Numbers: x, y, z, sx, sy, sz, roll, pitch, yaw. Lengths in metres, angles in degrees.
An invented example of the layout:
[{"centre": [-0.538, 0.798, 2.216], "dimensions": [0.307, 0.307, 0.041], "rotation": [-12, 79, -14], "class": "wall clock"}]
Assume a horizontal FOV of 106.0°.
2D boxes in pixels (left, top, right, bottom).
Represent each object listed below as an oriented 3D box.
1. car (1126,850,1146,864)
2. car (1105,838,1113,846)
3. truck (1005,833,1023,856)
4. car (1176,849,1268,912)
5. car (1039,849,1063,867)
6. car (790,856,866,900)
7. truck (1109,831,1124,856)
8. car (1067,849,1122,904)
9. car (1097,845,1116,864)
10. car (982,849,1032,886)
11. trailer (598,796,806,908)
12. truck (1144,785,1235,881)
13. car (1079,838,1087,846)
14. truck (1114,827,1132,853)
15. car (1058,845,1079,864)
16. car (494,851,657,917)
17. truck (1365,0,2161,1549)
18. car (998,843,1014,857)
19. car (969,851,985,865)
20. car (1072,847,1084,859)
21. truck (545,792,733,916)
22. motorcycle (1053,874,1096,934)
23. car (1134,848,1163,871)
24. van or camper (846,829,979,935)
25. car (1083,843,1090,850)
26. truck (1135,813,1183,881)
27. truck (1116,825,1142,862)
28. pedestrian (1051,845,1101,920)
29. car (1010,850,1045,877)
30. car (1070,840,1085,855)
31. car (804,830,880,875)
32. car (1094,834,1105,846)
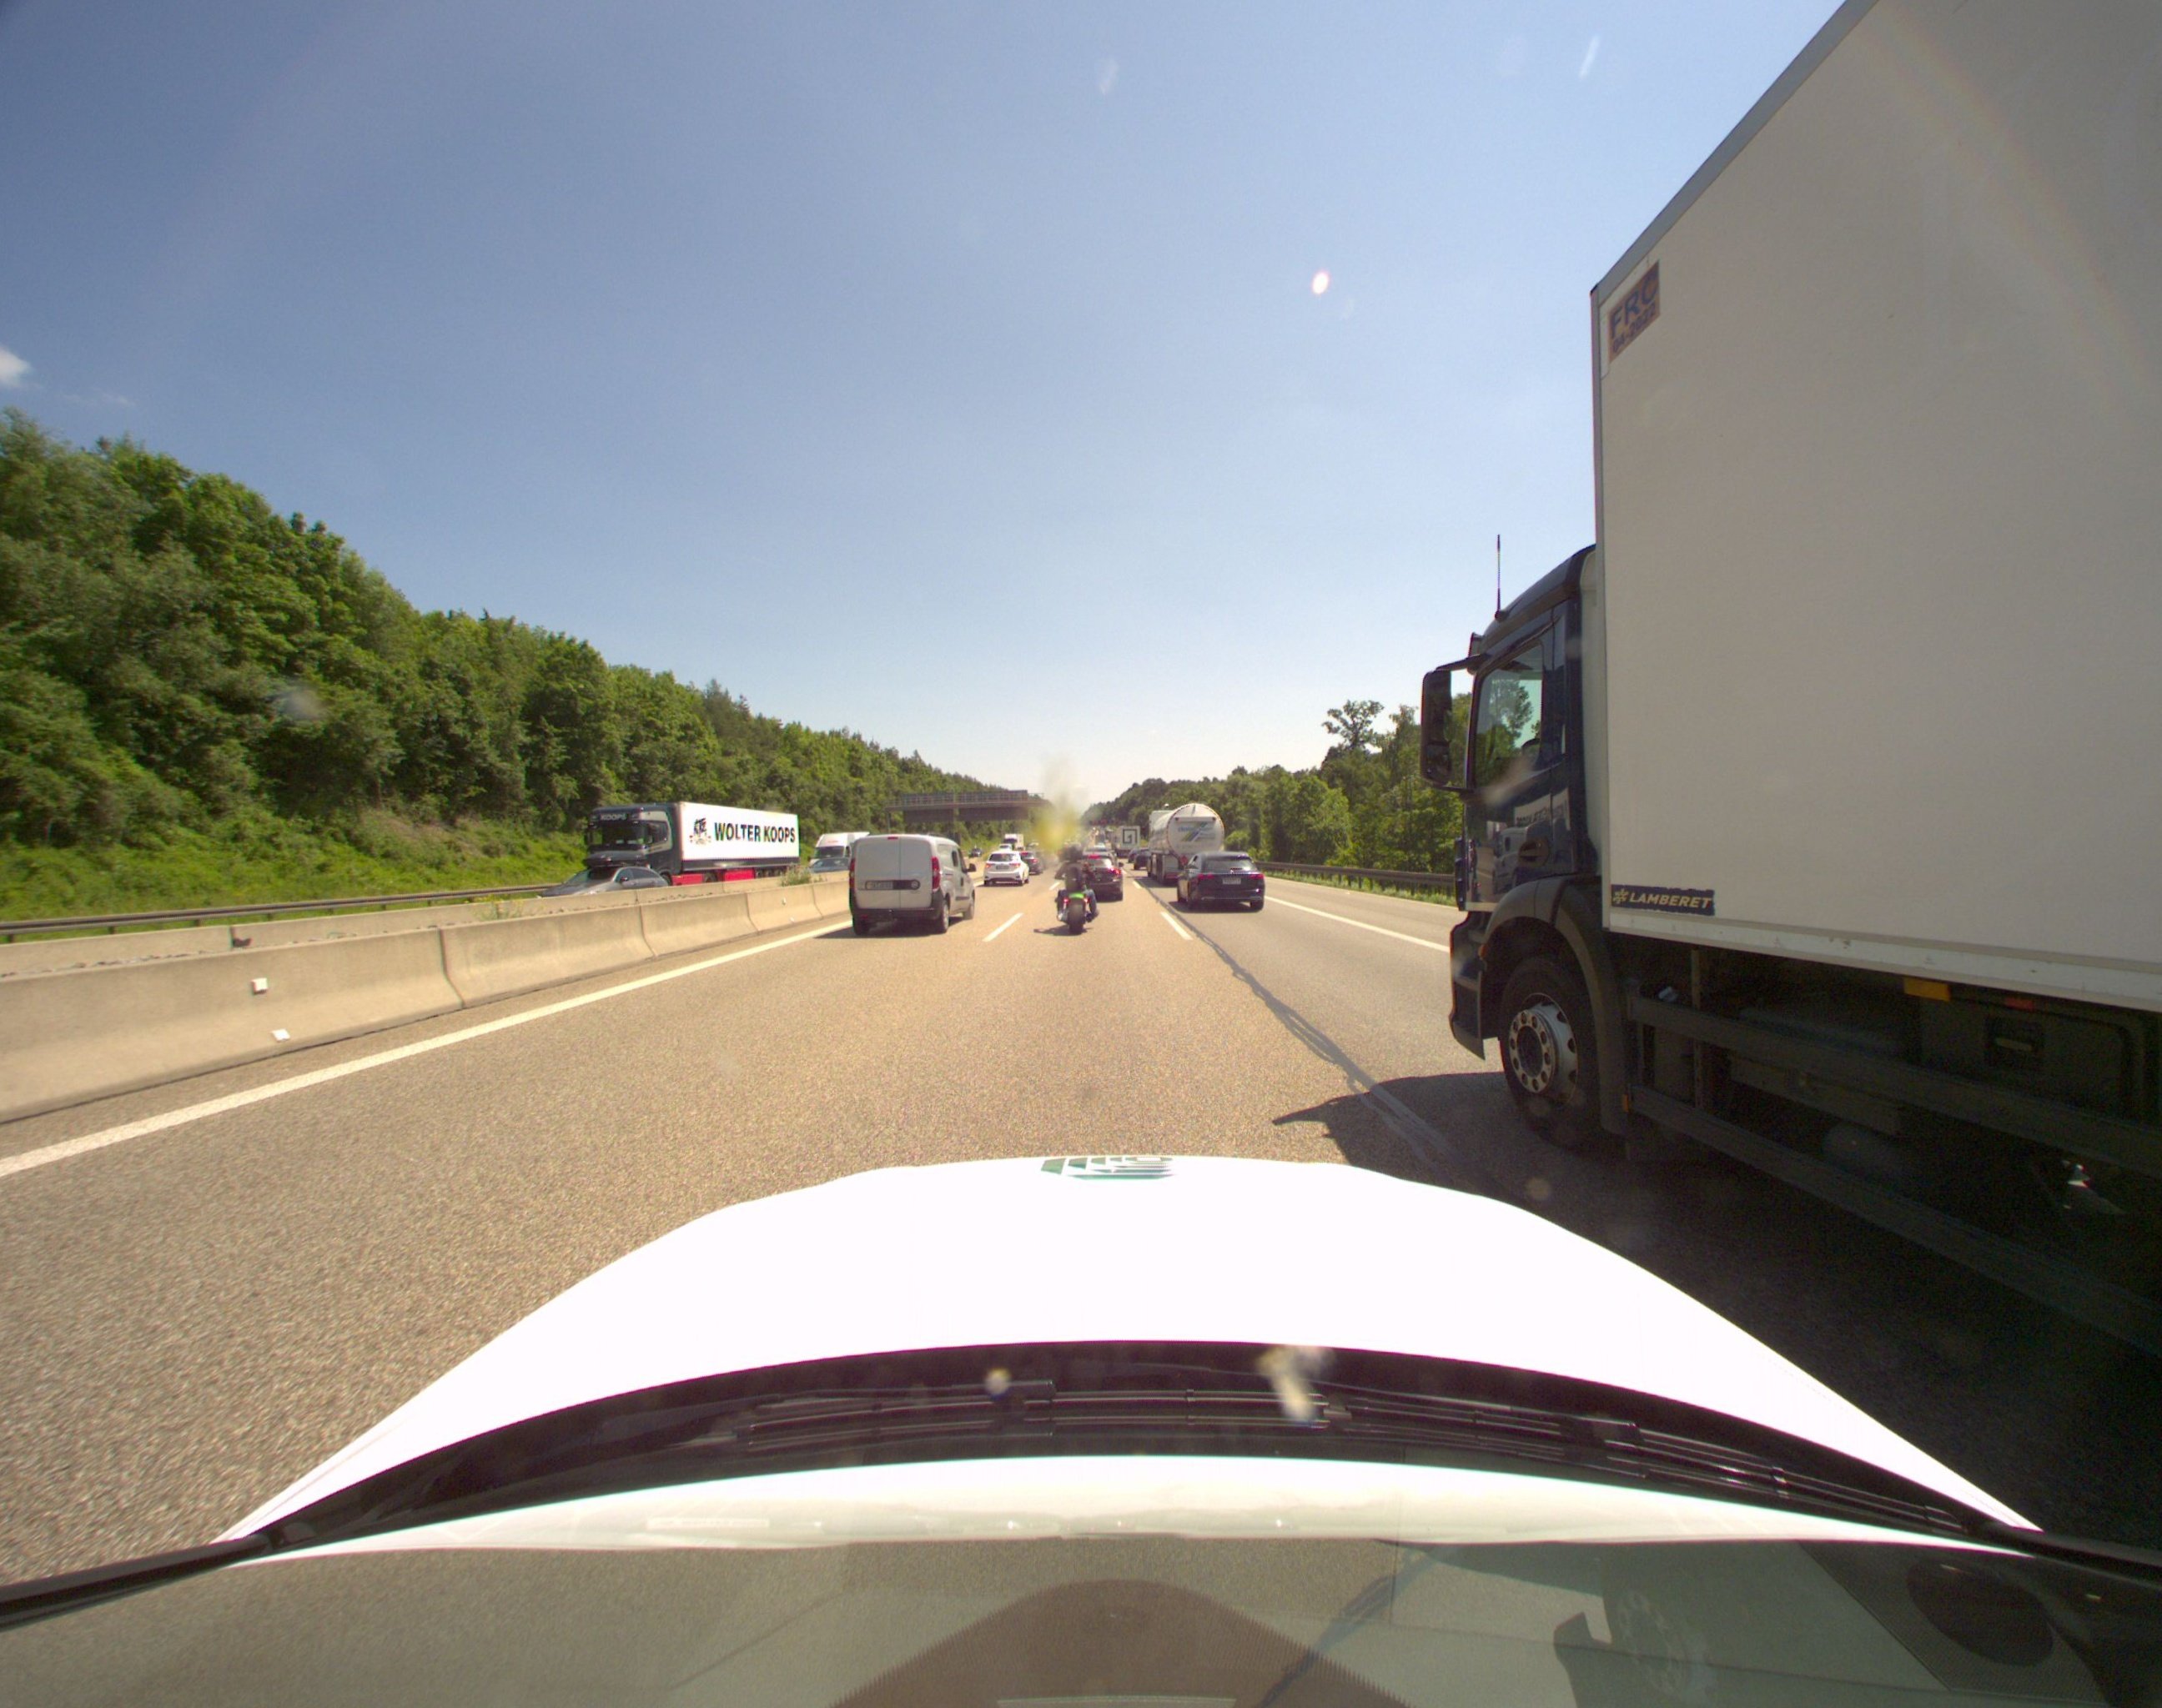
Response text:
[{"centre": [5.464, 0.294, 81.597], "dimensions": [1.780, 1.374, 3.804], "rotation": [-2, 0, 1], "class": "car"}, {"centre": [7.402, -3.117, 216.981], "dimensions": [1.986, 2.013, 4.001], "rotation": [-4, -1, 2], "class": "car"}, {"centre": [-14.273, -2.010, 174.430], "dimensions": [2.755, 4.740, 10.475], "rotation": [-2, 0, 1], "class": "truck"}, {"centre": [3.608, 0.625, 21.510], "dimensions": [1.822, 1.470, 4.001], "rotation": [-1, 0, 1], "class": "car"}, {"centre": [-2.526, 0.300, 69.499], "dimensions": [1.693, 1.478, 4.001], "rotation": [-2, 0, 1], "class": "car"}, {"centre": [-10.329, 0.960, 33.561], "dimensions": [1.681, 1.607, 4.127], "rotation": [-4, -1, 1], "class": "car"}, {"centre": [7.599, -2.290, 176.968], "dimensions": [3.022, 5.139, 9.985], "rotation": [-1, 0, 1], "class": "truck"}, {"centre": [0.423, 0.652, 25.732], "dimensions": [1.527, 1.510, 4.000], "rotation": [-4, 0, 1], "class": "car"}, {"centre": [2.866, 0.064, 91.038], "dimensions": [1.986, 2.013, 4.001], "rotation": [-4, -1, 2], "class": "car"}, {"centre": [-3.187, 0.560, 35.876], "dimensions": [1.693, 1.478, 4.001], "rotation": [-2, 0, 1], "class": "car"}, {"centre": [-18.343, 0.008, 41.189], "dimensions": [3.711, 4.528, 13.334], "rotation": [-4, -1, 1], "class": "trailer"}, {"centre": [4.692, -0.797, 37.198], "dimensions": [2.977, 3.671, 9.290], "rotation": [-4, -1, 1], "class": "truck"}, {"centre": [0.414, -3.212, 217.377], "dimensions": [1.986, 2.013, 4.001], "rotation": [-2, 0, 1], "class": "car"}, {"centre": [7.390, -2.466, 145.056], "dimensions": [3.022, 4.542, 9.985], "rotation": [-1, 0, 1], "class": "truck"}, {"centre": [-1.275, 0.066, 84.934], "dimensions": [1.873, 1.859, 4.002], "rotation": [-1, 0, 2], "class": "car"}, {"centre": [-14.290, 0.812, 23.381], "dimensions": [1.681, 1.607, 4.515], "rotation": [-4, -1, 1], "class": "car"}, {"centre": [3.434, -0.585, 1.029], "dimensions": [2.678, 3.876, 9.782], "rotation": [-4, 0, 1], "class": "truck"}, {"centre": [-11.971, -0.662, 129.548], "dimensions": [1.873, 2.013, 4.470], "rotation": [-5, -1, 2], "class": "car"}, {"centre": [-15.737, 0.618, 123.486], "dimensions": [1.820, 2.013, 3.880], "rotation": [-4, -1, 2], "class": "car"}, {"centre": [-0.503, -0.127, 148.985], "dimensions": [1.986, 2.013, 4.001], "rotation": [-4, -1, 2], "class": "car"}, {"centre": [-18.492, 0.053, 34.833], "dimensions": [3.712, 4.528, 7.326], "rotation": [-4, -1, 1], "class": "truck"}, {"centre": [-0.094, 0.929, 15.741], "dimensions": [0.688, 1.015, 2.123], "rotation": [-1, 0, 3], "class": "motorcycle"}, {"centre": [4.817, 0.380, 58.439], "dimensions": [1.780, 1.555, 3.804], "rotation": [-2, 0, 1], "class": "car"}, {"centre": [-3.340, 0.540, 16.934], "dimensions": [1.789, 1.892, 4.160], "rotation": [-1, -1, 1], "class": "van or camper"}, {"centre": [1.628, -2.147, 239.853], "dimensions": [1.986, 2.013, 4.001], "rotation": [-1, 0, 2], "class": "car"}, {"centre": [4.353, -0.351, 46.196], "dimensions": [1.988, 3.522, 4.749], "rotation": [-4, -1, -1], "class": "truck"}, {"centre": [6.185, -1.363, 105.773], "dimensions": [3.022, 4.542, 9.985], "rotation": [-1, 0, 1], "class": "truck"}, {"centre": [-0.082, 0.539, 15.879], "dimensions": [0.846, 1.362, 0.962], "rotation": [-4, 0, 2], "class": "pedestrian"}, {"centre": [-3.170, 0.551, 48.741], "dimensions": [1.693, 1.478, 4.001], "rotation": [-2, 0, 1], "class": "car"}, {"centre": [-0.533, -0.992, 122.225], "dimensions": [1.922, 2.013, 4.002], "rotation": [-4, -1, 2], "class": "car"}, {"centre": [-13.778, -0.117, 47.491], "dimensions": [1.986, 2.377, 7.367], "rotation": [-2, 0, 1], "class": "car"}, {"centre": [4.413, -3.377, 197.303], "dimensions": [2.495, 2.587, 5.018], "rotation": [-2, 0, 1], "class": "car"}]
